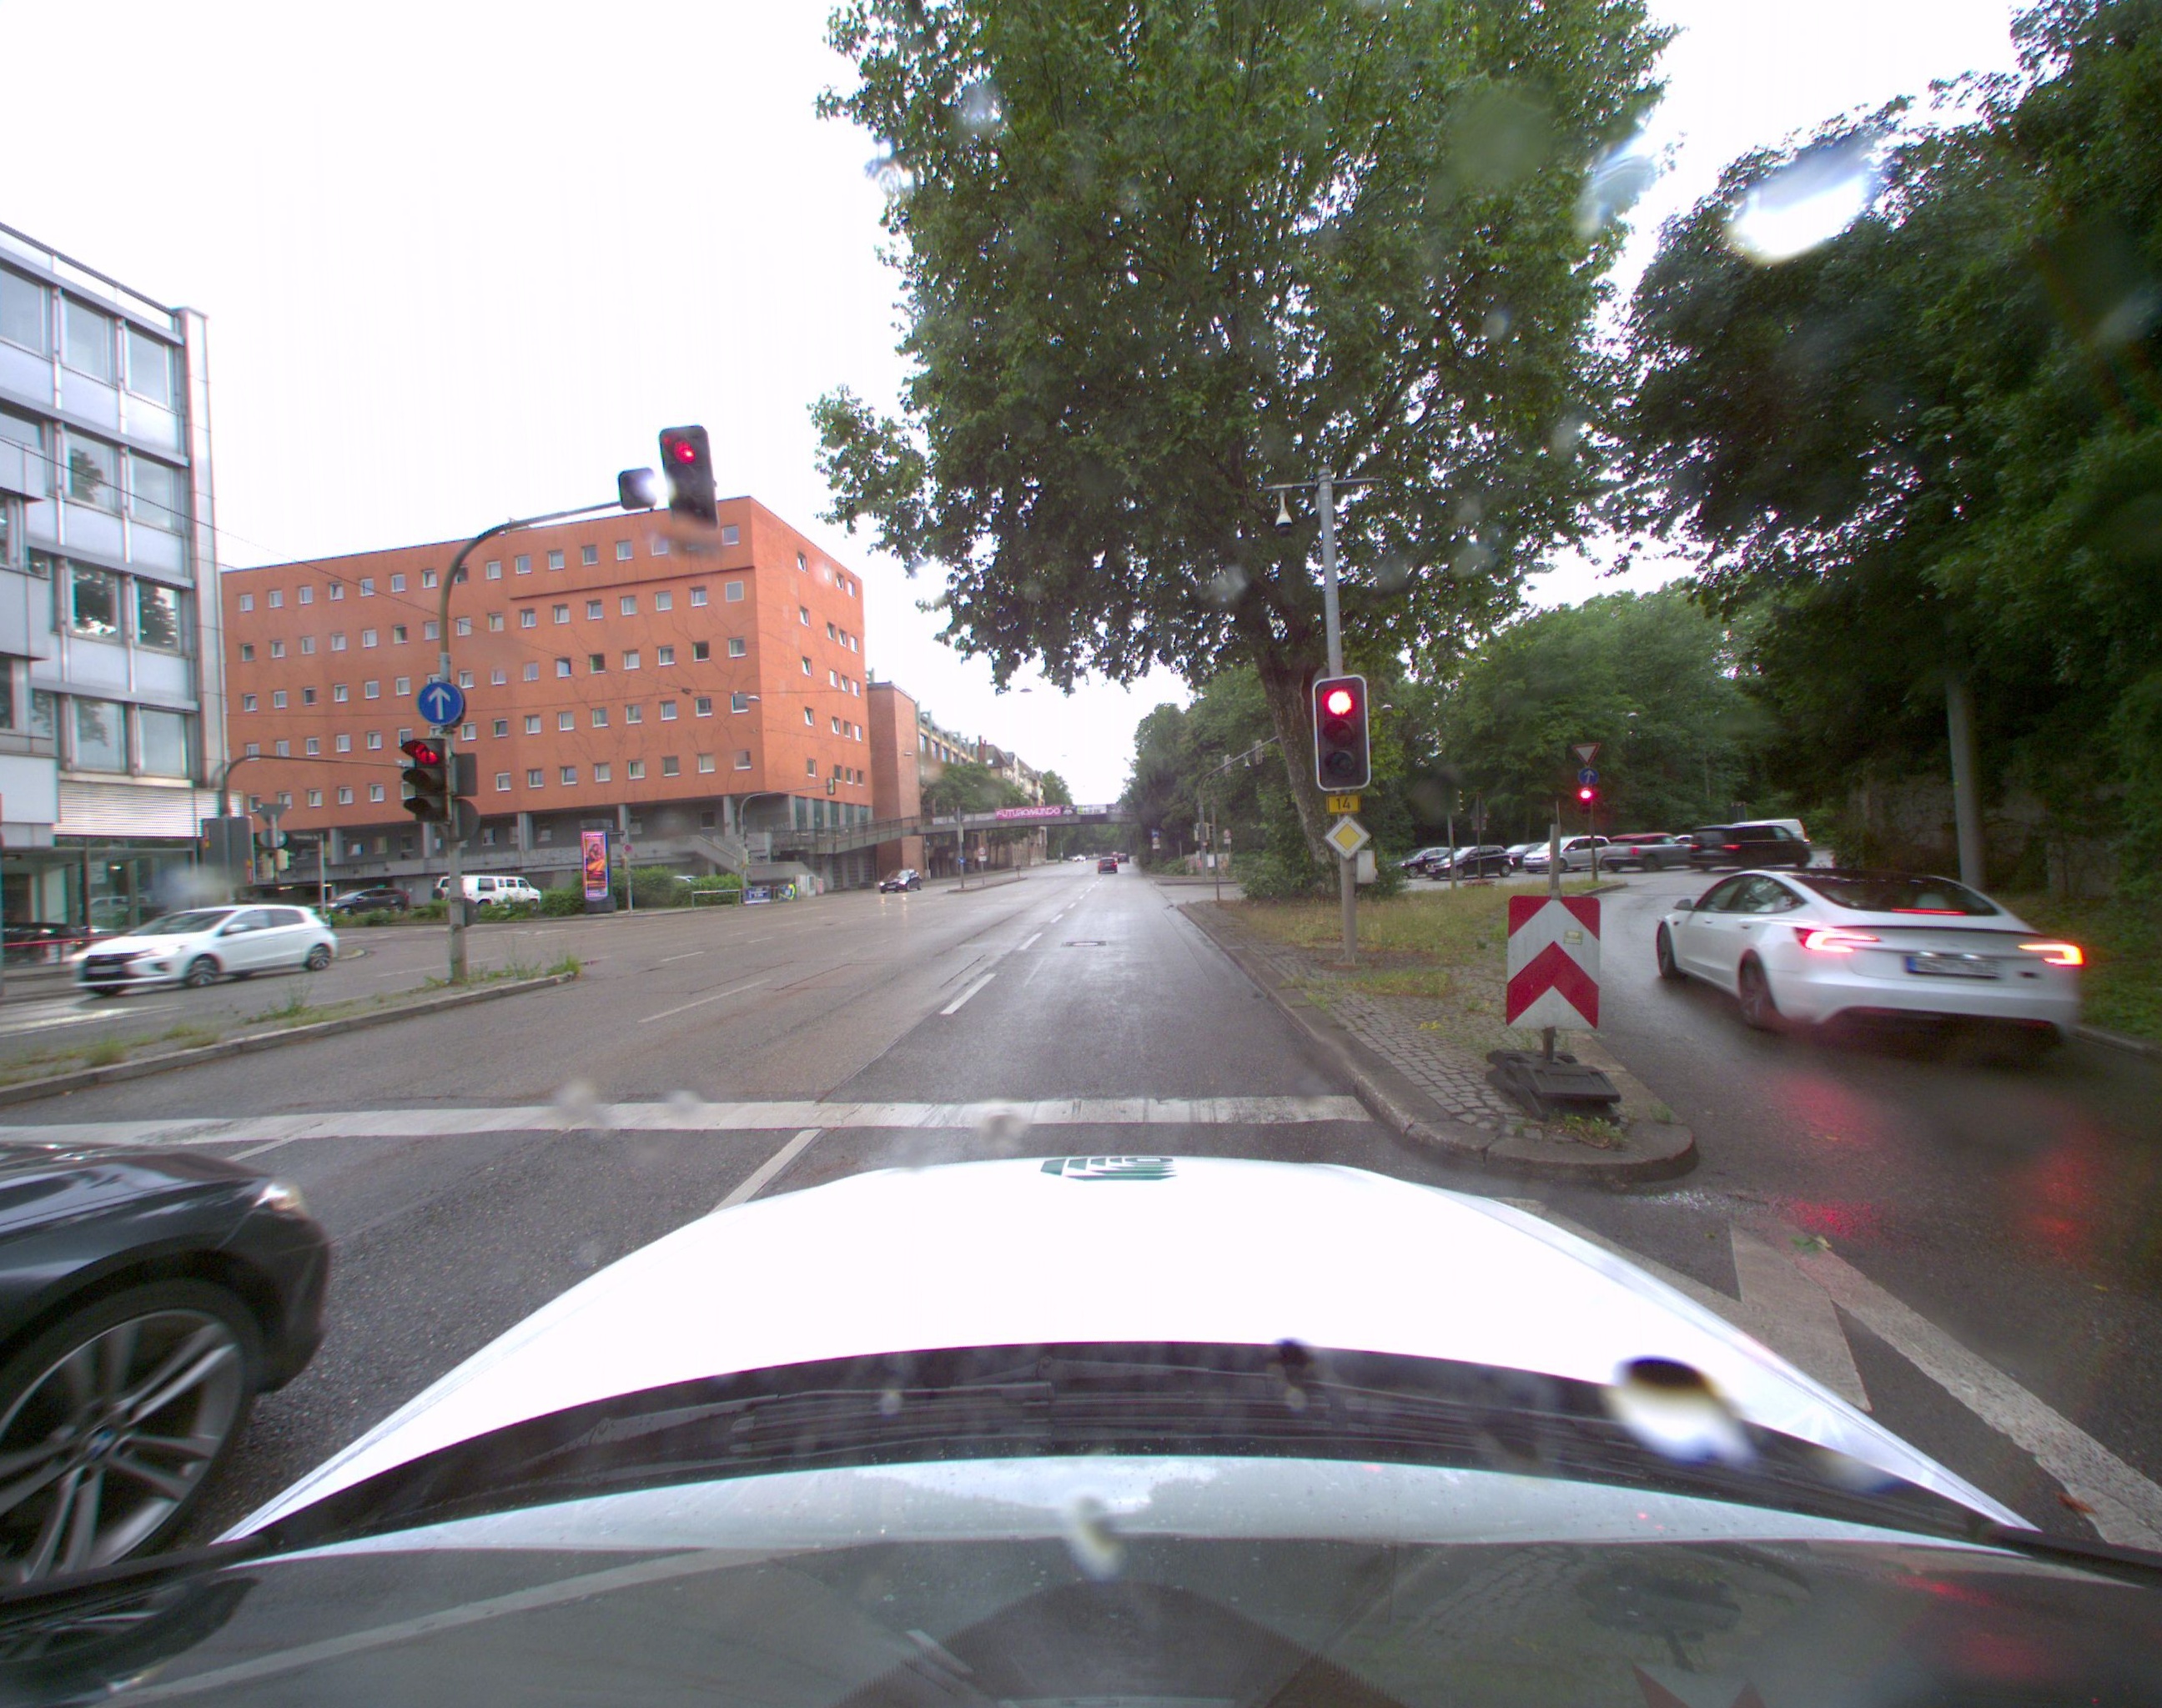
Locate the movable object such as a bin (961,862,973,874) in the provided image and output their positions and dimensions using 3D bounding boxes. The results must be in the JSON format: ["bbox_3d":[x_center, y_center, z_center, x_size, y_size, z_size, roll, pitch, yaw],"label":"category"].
[{"bbox_3d":[-15.265,1.906,109.098,1.293,1.518,1.215,-3,0,3],"label":"movable object such as a bin"}]

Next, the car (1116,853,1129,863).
[{"bbox_3d":[6.217,0.609,121.646,1.835,1.453,3.778,0,-1,2],"label":"car"}]

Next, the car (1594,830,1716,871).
[{"bbox_3d":[24.818,-0.152,35.244,4.275,1.680,1.942,0,-1,-12],"label":"car"}]

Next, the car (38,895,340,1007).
[{"bbox_3d":[-16.844,1.737,15.710,1.800,1.532,3.754,-6,0,-7],"label":"car"}]

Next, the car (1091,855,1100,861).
[{"bbox_3d":[4.301,1.082,241.340,1.889,1.610,4.443,-2,-1,-9],"label":"car"}]

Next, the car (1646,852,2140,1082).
[{"bbox_3d":[7.289,0.774,8.076,1.836,1.448,4.644,2,2,23],"label":"car"}]

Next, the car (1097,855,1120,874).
[{"bbox_3d":[2.557,0.940,75.705,1.997,1.643,4.378,-3,0,2],"label":"car"}]

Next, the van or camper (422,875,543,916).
[{"bbox_3d":[-32.829,2.221,44.924,2.113,1.977,5.466,-1,-1,9],"label":"van or camper"}]

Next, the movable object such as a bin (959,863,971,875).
[{"bbox_3d":[-15.339,1.924,107.692,1.277,1.518,1.274,-3,0,3],"label":"movable object such as a bin"}]

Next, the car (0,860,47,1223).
[{"bbox_3d":[-5.991,0.848,1.706,1.801,1.656,4.449,0,-1,4],"label":"car"}]

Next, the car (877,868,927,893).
[{"bbox_3d":[-11.228,1.645,51.266,1.677,1.419,4.223,-4,-2,7],"label":"car"}]

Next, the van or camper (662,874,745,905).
[{"bbox_3d":[-22.383,2.106,48.393,3.965,1.627,1.918,-3,0,8],"label":"van or camper"}]

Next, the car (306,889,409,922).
[{"bbox_3d":[-40.239,2.819,45.416,1.699,1.612,4.097,-1,-1,9],"label":"car"}]

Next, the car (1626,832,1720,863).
[{"bbox_3d":[28.851,-0.314,39.727,3.857,1.461,1.650,0,-1,-14],"label":"car"}]

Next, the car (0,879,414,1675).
[{"bbox_3d":[-2.993,0.836,0.197,1.769,1.458,4.480,-3,-1,3],"label":"car"}]

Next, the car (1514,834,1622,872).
[{"bbox_3d":[22.590,-0.059,37.828,4.203,1.680,1.898,0,-1,-14],"label":"car"}]

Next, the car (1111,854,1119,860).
[{"bbox_3d":[9.448,0.921,227.018,1.886,1.610,4.450,-2,-1,-4],"label":"car"}]

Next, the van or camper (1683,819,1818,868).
[{"bbox_3d":[27.016,-0.413,32.902,4.713,1.881,1.988,0,-1,-18],"label":"van or camper"}]

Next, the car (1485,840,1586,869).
[{"bbox_3d":[22.934,0.021,41.123,4.438,1.402,1.821,0,-1,-14],"label":"car"}]

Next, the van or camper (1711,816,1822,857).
[{"bbox_3d":[35.224,-0.898,41.871,4.857,1.947,1.897,-1,-1,-15],"label":"van or camper"}]

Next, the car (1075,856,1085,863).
[{"bbox_3d":[-0.290,1.428,196.330,1.881,1.610,4.461,-3,-1,4],"label":"car"}]

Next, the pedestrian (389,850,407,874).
[{"bbox_3d":[-53.125,0.628,63.356,0.757,1.839,0.727,-1,-1,11],"label":"pedestrian"}]

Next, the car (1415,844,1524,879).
[{"bbox_3d":[17.168,0.327,36.038,4.192,1.460,1.784,0,-1,-14],"label":"car"}]

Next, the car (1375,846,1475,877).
[{"bbox_3d":[16.782,0.354,39.795,4.205,1.440,1.941,0,-1,-14],"label":"car"}]
